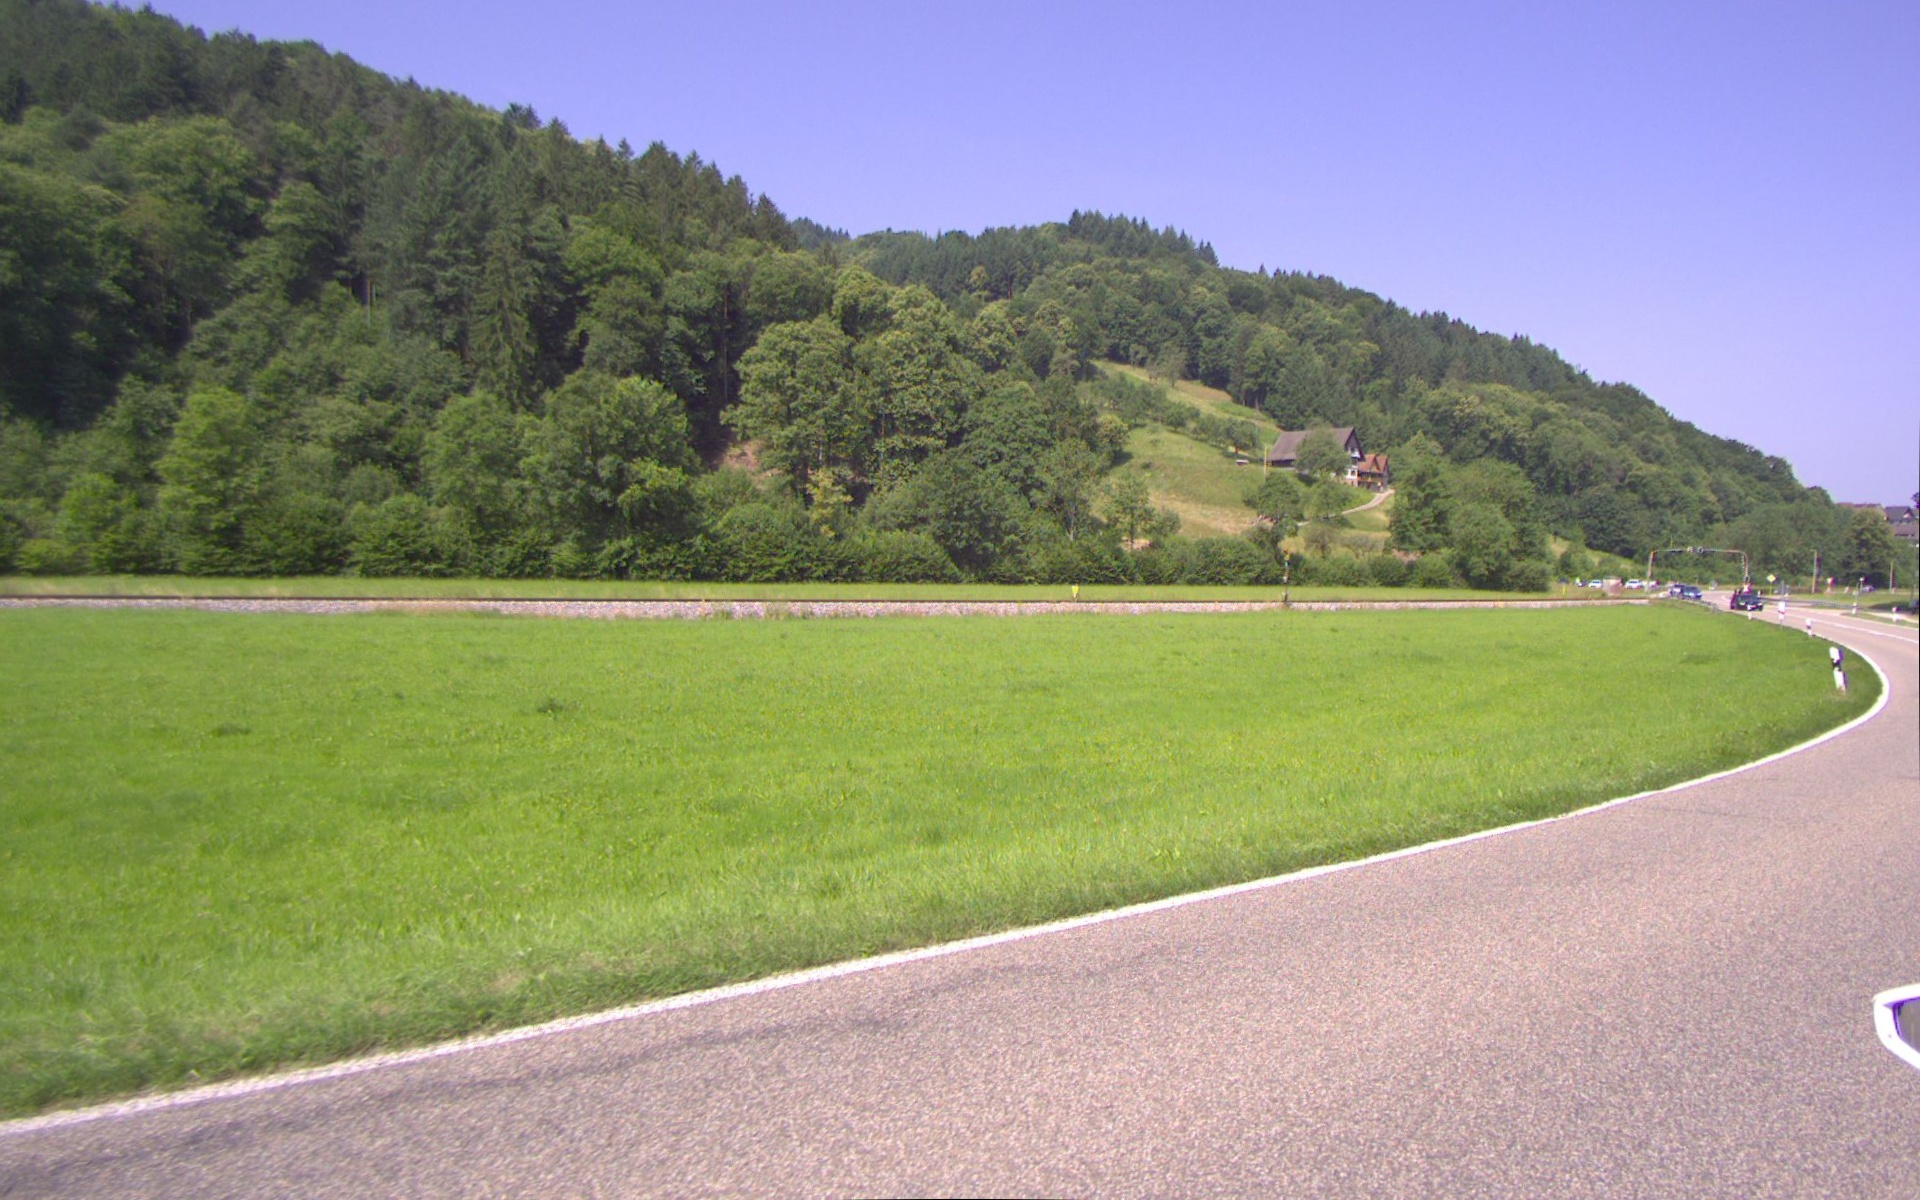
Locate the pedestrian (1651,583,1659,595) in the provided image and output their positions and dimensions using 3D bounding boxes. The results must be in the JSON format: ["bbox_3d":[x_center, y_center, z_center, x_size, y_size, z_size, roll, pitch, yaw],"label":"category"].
[{"bbox_3d":[114.493,-1.783,165.480,0.757,1.884,0.647,0,2,-12],"label":"pedestrian"}]

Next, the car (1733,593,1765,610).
[{"bbox_3d":[73.009,0.112,93.021,1.890,1.490,4.497,2,2,33],"label":"car"}]

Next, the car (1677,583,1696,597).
[{"bbox_3d":[93.913,-1.281,129.913,1.840,1.645,4.496,3,3,34],"label":"car"}]

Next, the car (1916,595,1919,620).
[{"bbox_3d":[73.246,0.561,74.930,1.973,1.873,4.853,-4,-1,34],"label":"car"}]

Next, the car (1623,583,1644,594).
[{"bbox_3d":[115.878,-1.968,172.859,4.737,1.806,1.853,-1,3,-43],"label":"car"}]

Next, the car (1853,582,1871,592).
[{"bbox_3d":[173.609,-2.507,193.387,3.964,1.639,1.790,3,1,-37],"label":"car"}]

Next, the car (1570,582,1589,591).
[{"bbox_3d":[109.845,-2.391,178.006,1.971,1.521,4.496,5,4,42],"label":"car"}]
